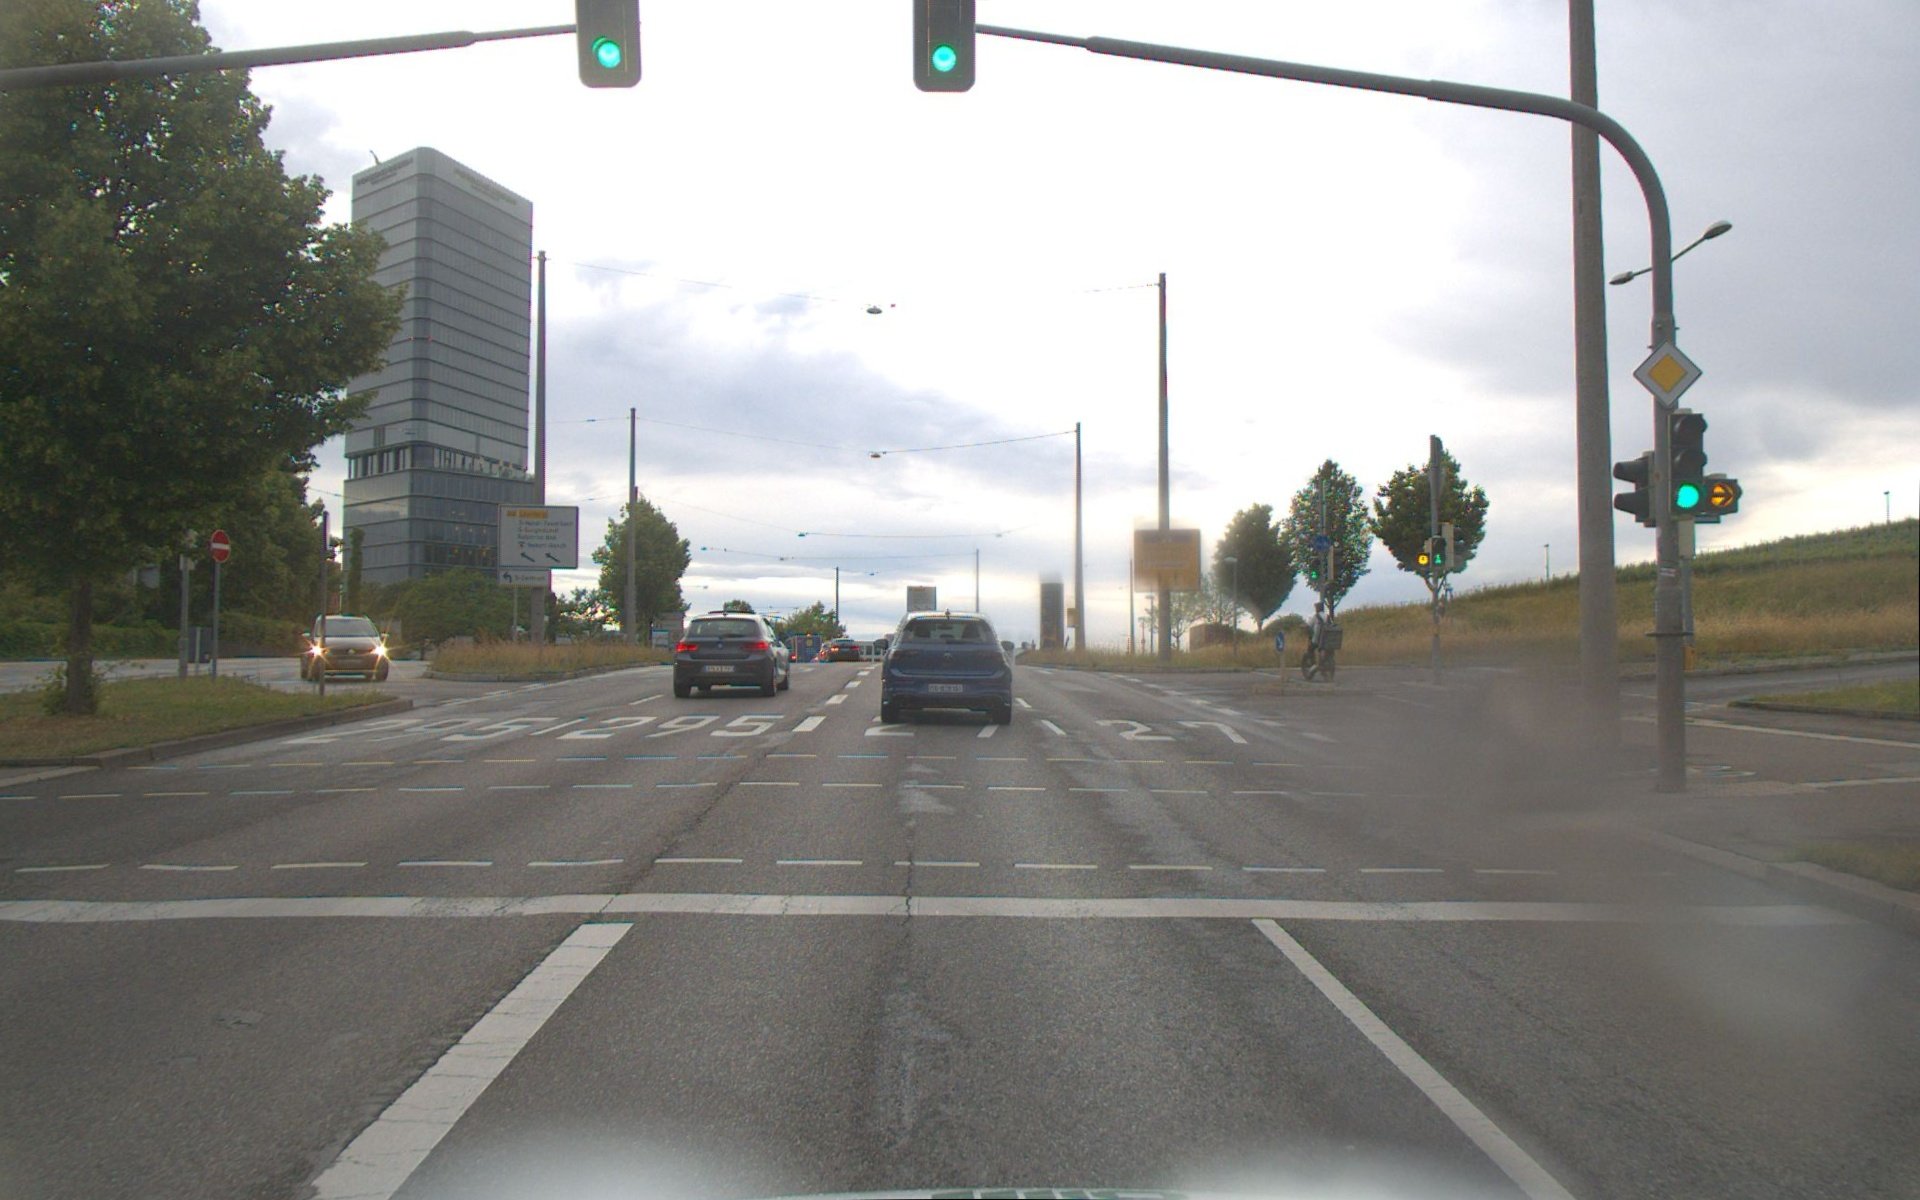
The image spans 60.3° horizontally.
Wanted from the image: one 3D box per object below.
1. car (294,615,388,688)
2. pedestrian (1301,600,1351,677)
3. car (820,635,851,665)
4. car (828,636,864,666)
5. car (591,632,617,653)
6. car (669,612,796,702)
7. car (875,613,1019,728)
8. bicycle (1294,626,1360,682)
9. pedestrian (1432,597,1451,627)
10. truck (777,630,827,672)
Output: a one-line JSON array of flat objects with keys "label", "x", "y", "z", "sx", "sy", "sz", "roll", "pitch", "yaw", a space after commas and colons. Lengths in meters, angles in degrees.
[{"label": "car", "x": -14.266, "y": 1.156, "z": 38.004, "sx": 1.864, "sy": 1.533, "sz": 3.971, "roll": -1, "pitch": -1, "yaw": -23}, {"label": "pedestrian", "x": 7.918, "y": 0.830, "z": 35.775, "sx": 0.622, "sy": 1.598, "sz": 0.892, "roll": -4, "pitch": -1, "yaw": -14}, {"label": "car", "x": -8.996, "y": 3.636, "z": 119.064, "sx": 1.869, "sy": 2.008, "sz": 5.081, "roll": 0, "pitch": -3, "yaw": -9}, {"label": "car", "x": -6.491, "y": 2.872, "z": 94.345, "sx": 1.686, "sy": 1.568, "sz": 3.703, "roll": 2, "pitch": -1, "yaw": 1}, {"label": "car", "x": -29.466, "y": 3.531, "z": 136.964, "sx": 1.861, "sy": 1.687, "sz": 4.586, "roll": 1, "pitch": -2, "yaw": -15}, {"label": "car", "x": -4.013, "y": 0.974, "z": 29.720, "sx": 1.831, "sy": 1.487, "sz": 3.974, "roll": 0, "pitch": -1, "yaw": -2}, {"label": "car", "x": -0.176, "y": 0.906, "z": 22.889, "sx": 1.800, "sy": 1.418, "sz": 3.999, "roll": 1, "pitch": 0, "yaw": 0}, {"label": "bicycle", "x": 7.924, "y": 1.159, "z": 35.813, "sx": 0.622, "sy": 1.124, "sz": 1.747, "roll": -5, "pitch": -1, "yaw": -13}, {"label": "pedestrian", "x": 33.957, "y": 0.858, "z": 116.615, "sx": 0.771, "sy": 2.049, "sz": 1.043, "roll": -1, "pitch": -1, "yaw": -34}, {"label": "truck", "x": -12.954, "y": 4.234, "z": 135.128, "sx": 2.625, "sy": 3.277, "sz": 6.513, "roll": 2, "pitch": -3, "yaw": -18}]
